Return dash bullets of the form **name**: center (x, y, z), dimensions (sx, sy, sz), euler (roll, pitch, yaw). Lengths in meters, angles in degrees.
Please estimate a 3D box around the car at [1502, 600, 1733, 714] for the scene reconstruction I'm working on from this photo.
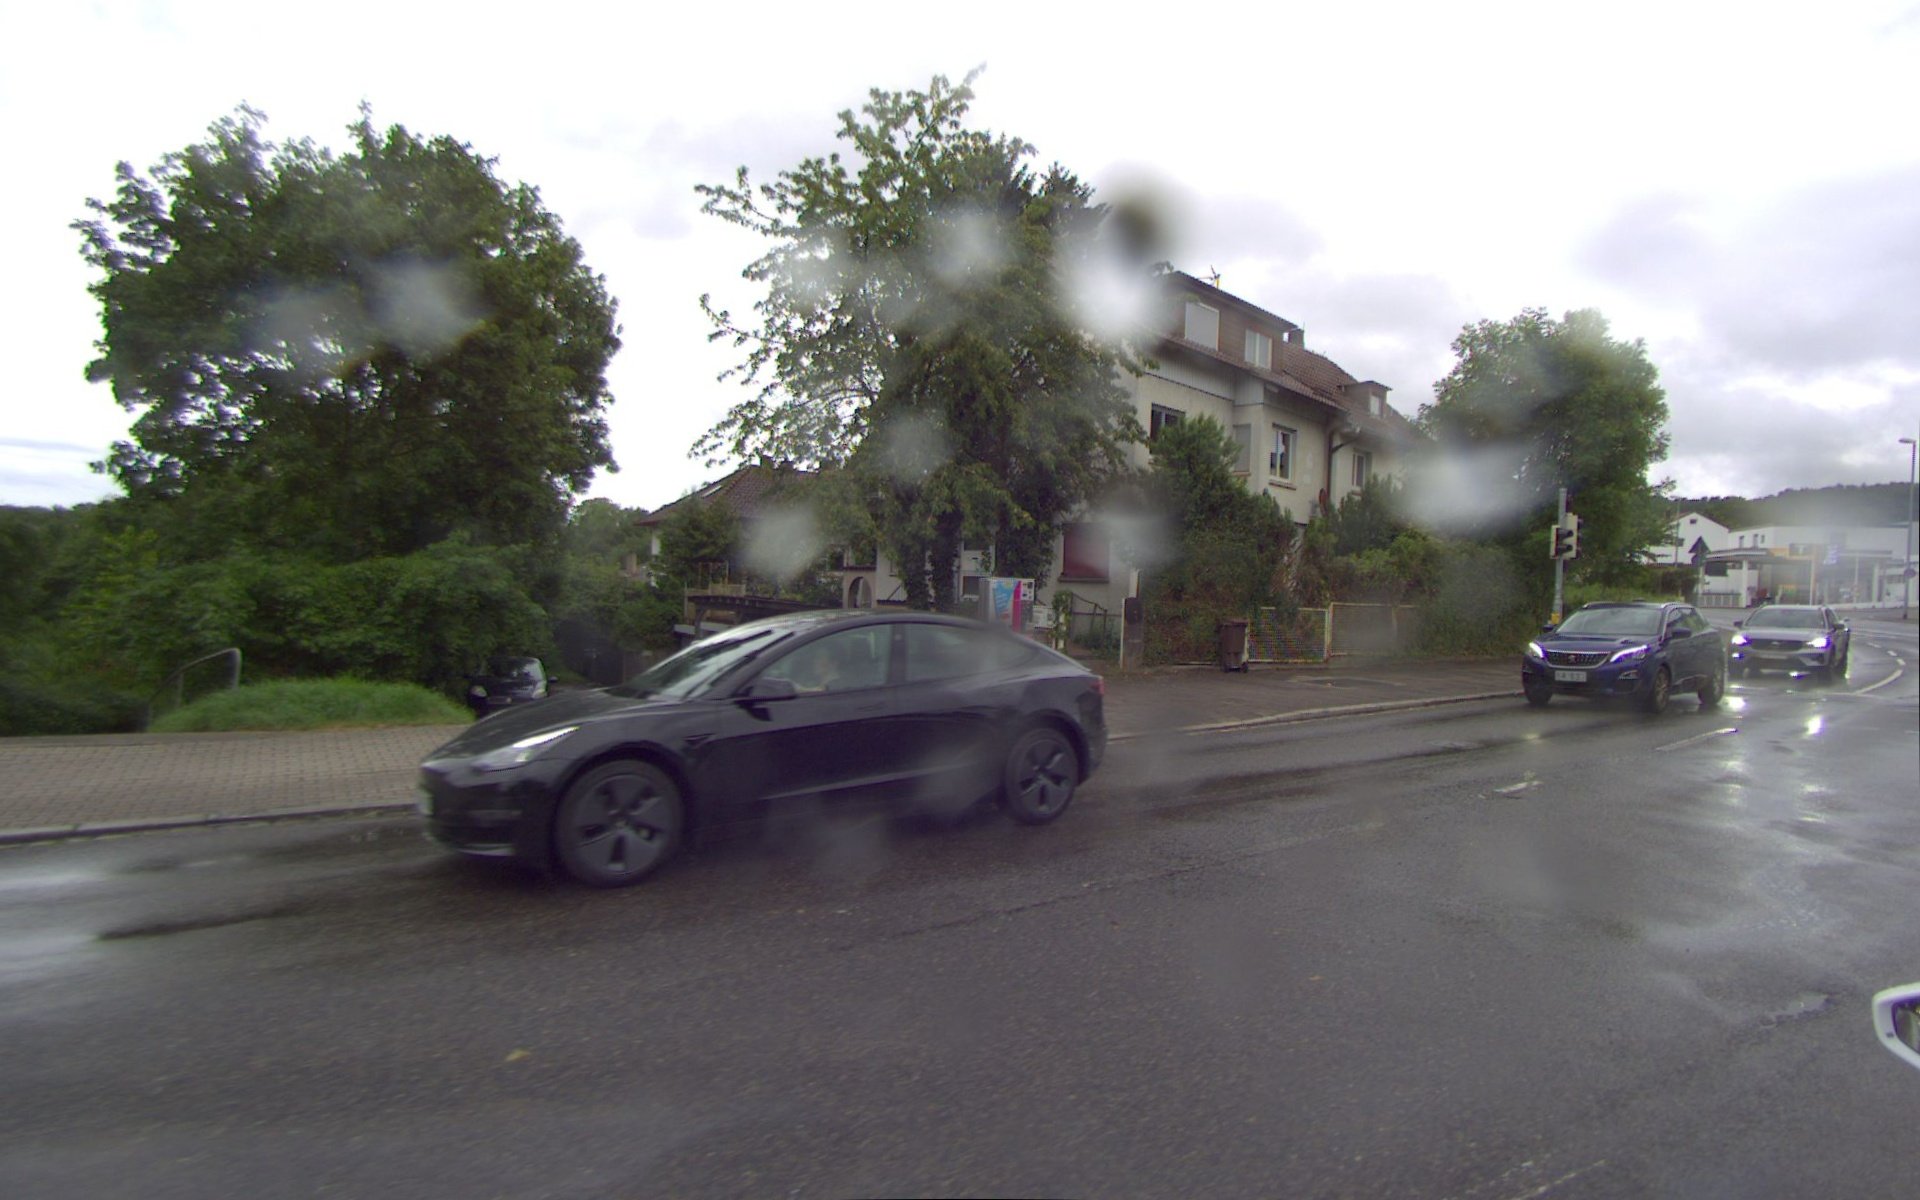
- **car**: center (10.561, 0.841, 16.015), dimensions (4.409, 1.574, 1.849), euler (2, -1, -39)

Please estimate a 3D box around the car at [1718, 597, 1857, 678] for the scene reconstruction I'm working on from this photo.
- **car**: center (19.430, 0.848, 23.516), dimensions (4.199, 1.700, 1.866), euler (2, 0, -42)

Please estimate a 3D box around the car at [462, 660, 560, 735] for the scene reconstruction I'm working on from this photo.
- **car**: center (-9.920, 2.080, 22.340), dimensions (1.817, 1.375, 3.978), euler (1, -2, -23)

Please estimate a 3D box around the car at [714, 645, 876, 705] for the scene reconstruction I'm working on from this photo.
- **car**: center (-4.202, 1.883, 26.047), dimensions (1.815, 1.375, 3.983), euler (0, -2, 38)

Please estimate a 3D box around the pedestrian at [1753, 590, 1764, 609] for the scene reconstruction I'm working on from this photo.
- **pedestrian**: center (70.507, -0.074, 88.687), dimensions (0.601, 1.678, 0.584), euler (2, 0, 31)

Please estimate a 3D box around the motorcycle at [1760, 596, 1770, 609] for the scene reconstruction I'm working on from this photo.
- **motorcycle**: center (70.792, 0.221, 88.355), dimensions (0.455, 1.069, 1.388), euler (2, 0, 30)

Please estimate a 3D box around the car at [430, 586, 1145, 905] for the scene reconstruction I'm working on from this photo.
- **car**: center (-0.979, 0.745, 6.768), dimensions (4.402, 1.496, 1.852), euler (1, -2, -35)

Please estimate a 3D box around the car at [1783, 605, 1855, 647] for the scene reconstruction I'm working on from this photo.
- **car**: center (33.133, 0.985, 38.829), dimensions (1.654, 1.469, 4.673), euler (2, 0, 35)
